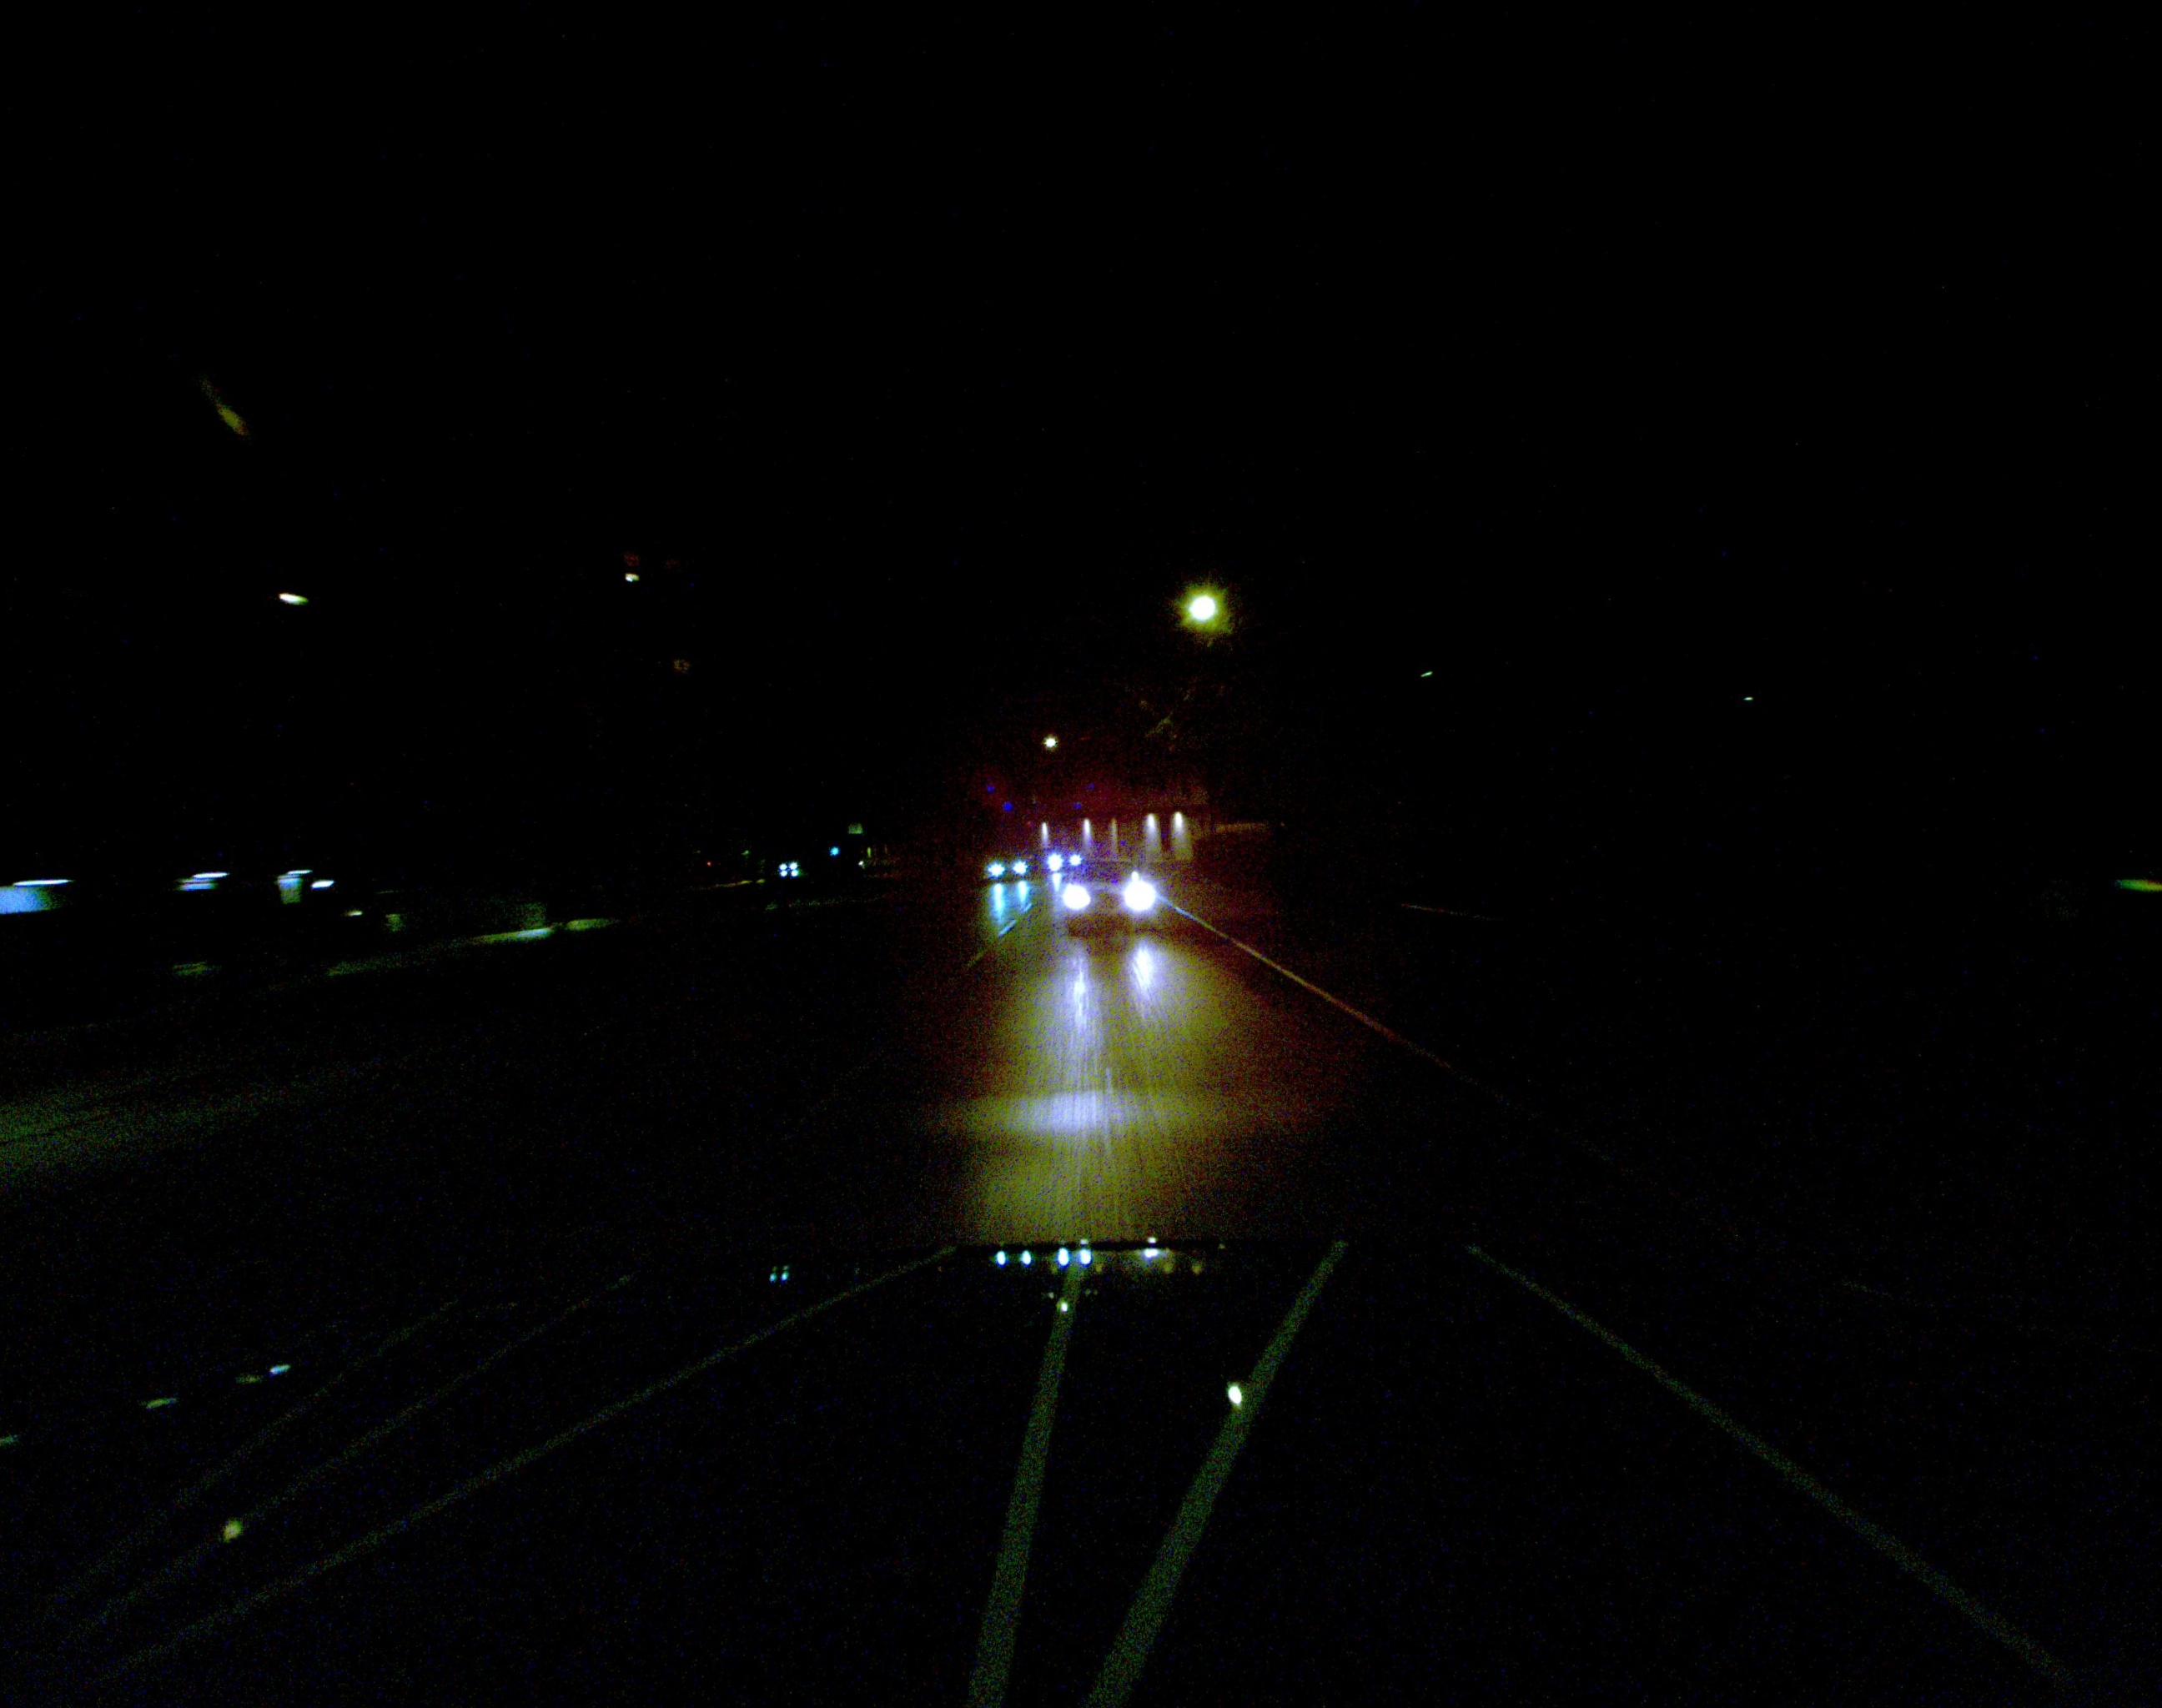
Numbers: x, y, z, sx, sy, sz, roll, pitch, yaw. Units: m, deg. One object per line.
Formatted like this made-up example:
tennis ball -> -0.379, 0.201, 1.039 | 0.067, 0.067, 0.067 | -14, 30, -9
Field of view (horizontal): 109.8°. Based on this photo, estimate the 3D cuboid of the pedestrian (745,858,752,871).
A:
pedestrian -> -47.046, 1.534, 107.591 | 0.624, 1.801, 0.757 | -5, 3, -32

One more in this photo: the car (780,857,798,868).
car -> -44.900, 1.297, 116.877 | 2.002, 1.626, 3.991 | -5, 2, -29

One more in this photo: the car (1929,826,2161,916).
car -> 17.698, 0.250, 12.672 | 1.889, 1.407, 4.462 | -3, 1, -31

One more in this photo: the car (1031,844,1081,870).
car -> -1.621, 0.169, 48.407 | 1.732, 1.455, 3.992 | -4, 2, -24

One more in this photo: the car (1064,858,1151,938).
car -> 0.478, 0.858, 16.444 | 1.634, 1.430, 3.839 | -2, 1, -1

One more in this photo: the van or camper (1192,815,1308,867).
van or camper -> 8.794, -0.644, 40.209 | 2.169, 2.521, 6.211 | -2, 1, -33

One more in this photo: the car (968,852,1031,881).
car -> -4.771, 0.705, 44.144 | 1.732, 1.422, 4.487 | -7, 3, -32

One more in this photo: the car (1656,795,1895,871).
car -> 20.178, -0.561, 22.328 | 2.003, 1.944, 4.794 | -5, 2, -32
